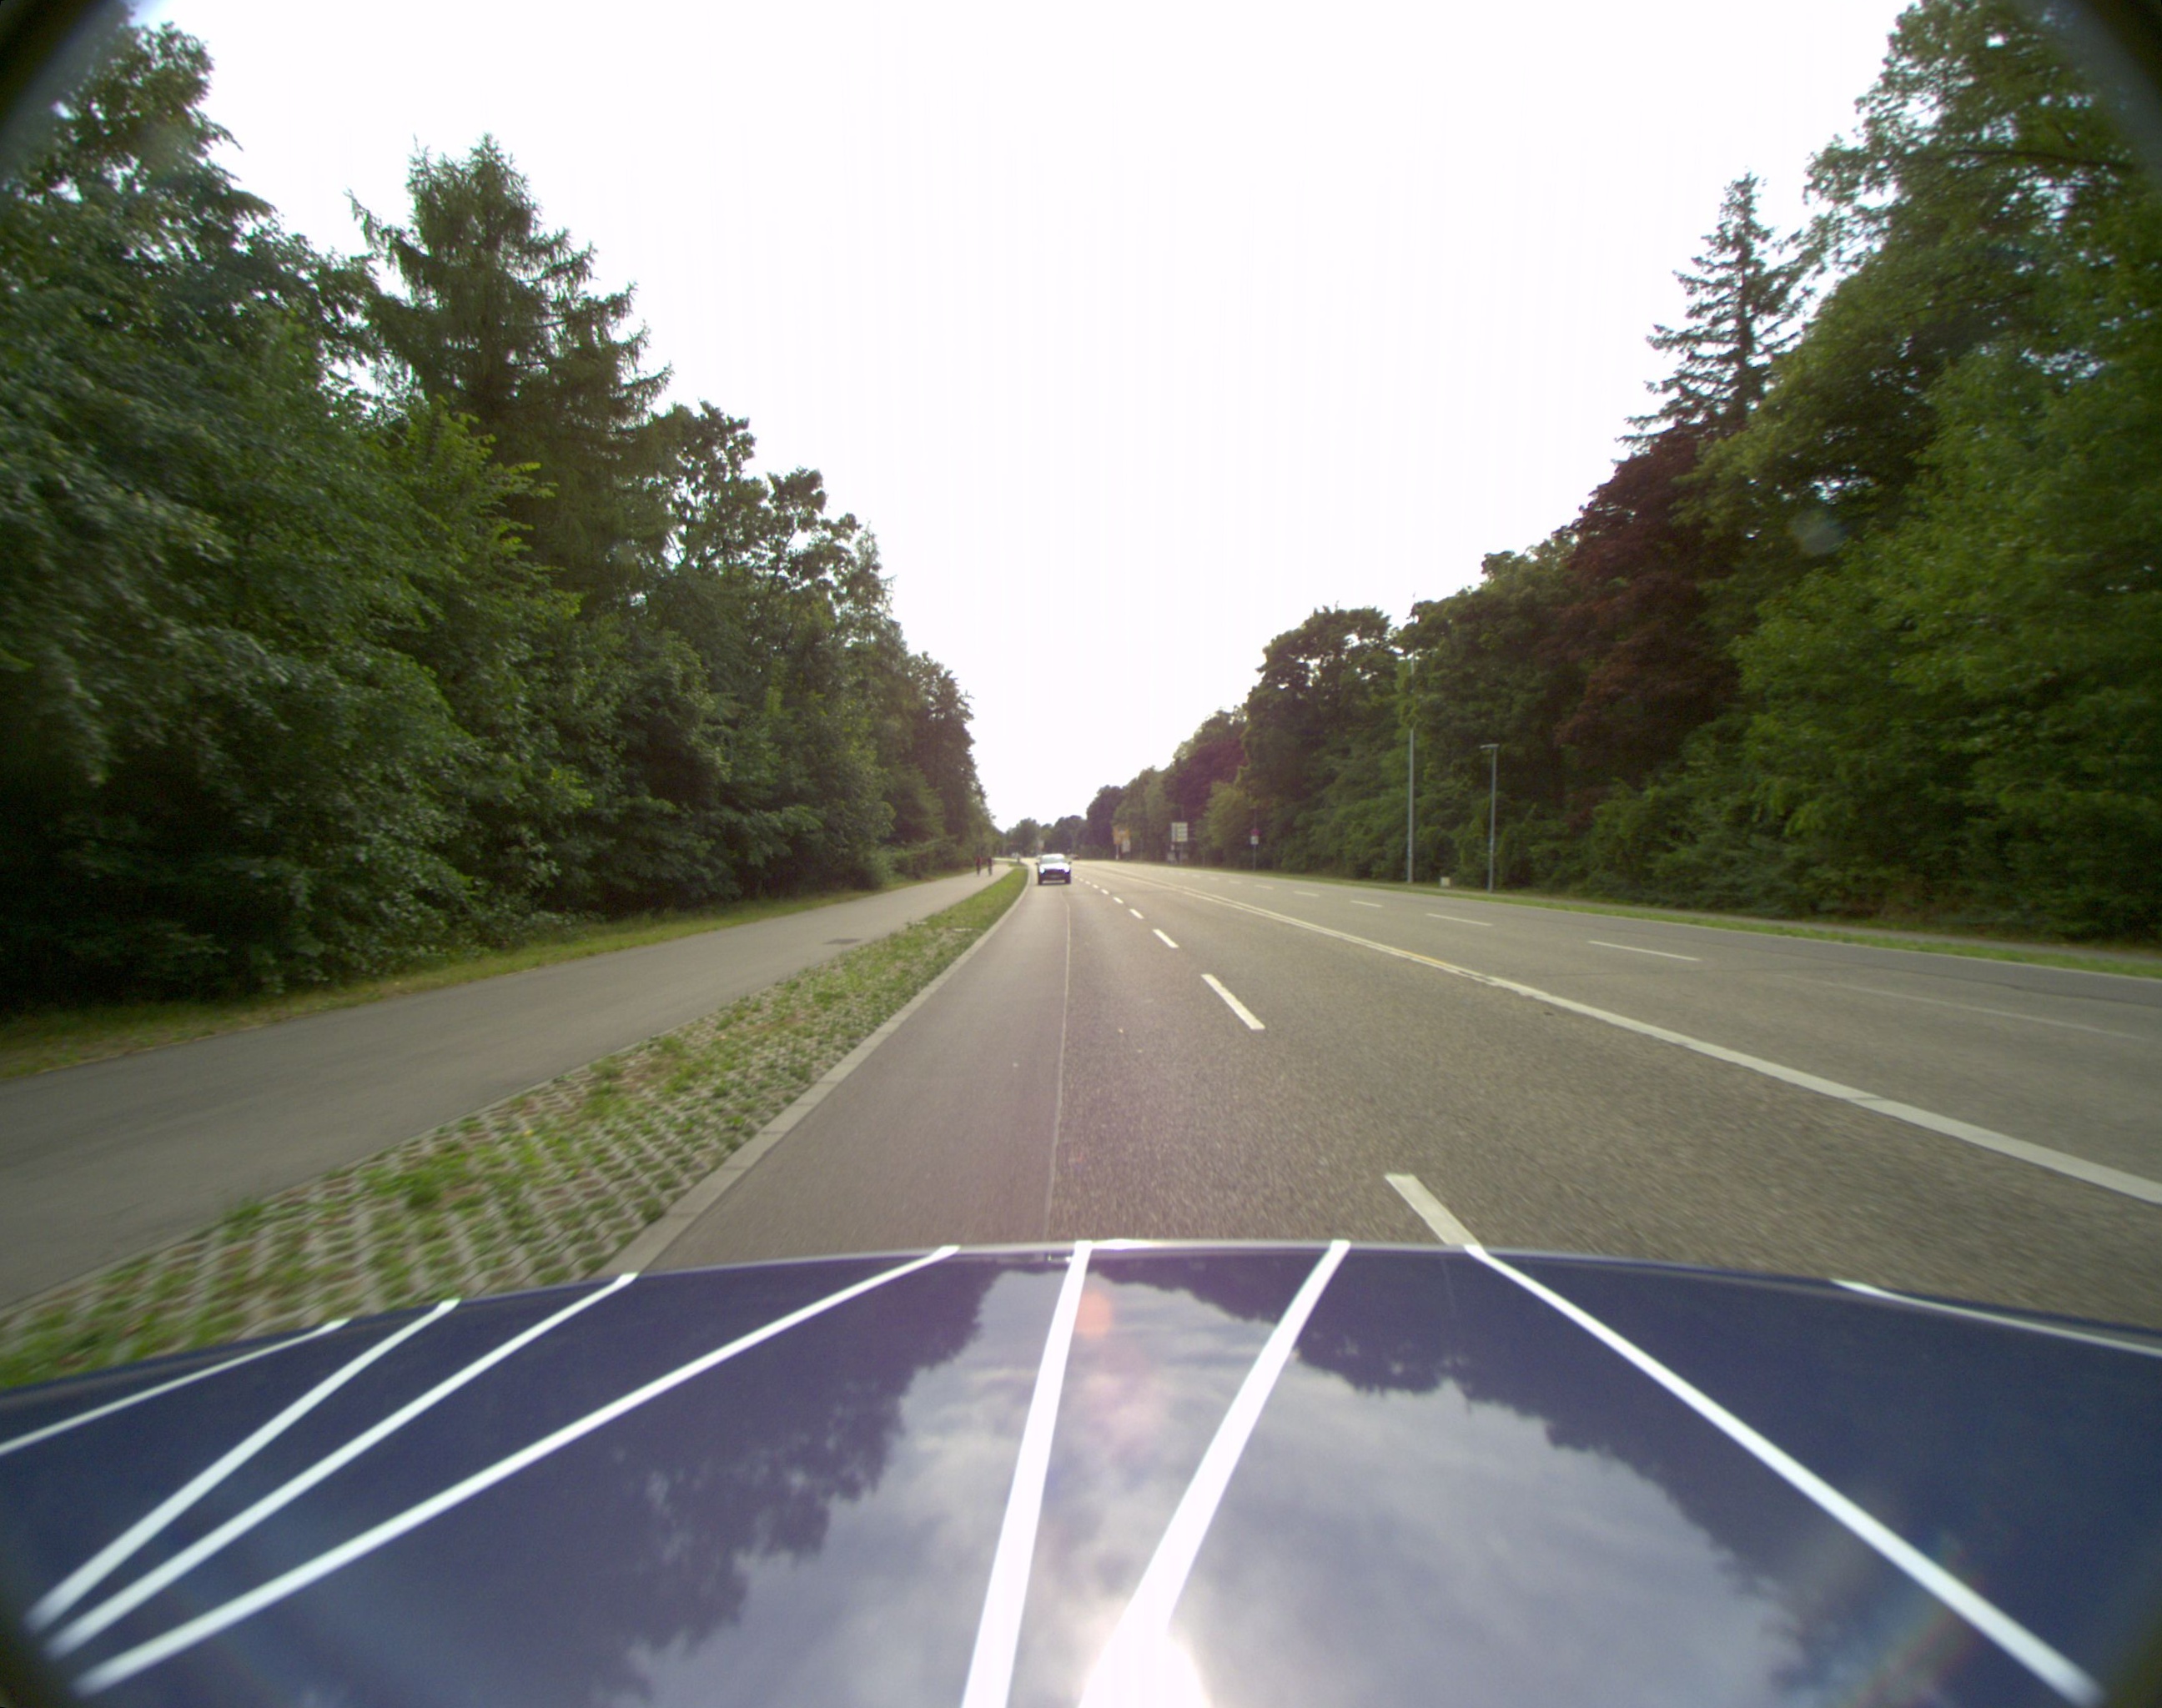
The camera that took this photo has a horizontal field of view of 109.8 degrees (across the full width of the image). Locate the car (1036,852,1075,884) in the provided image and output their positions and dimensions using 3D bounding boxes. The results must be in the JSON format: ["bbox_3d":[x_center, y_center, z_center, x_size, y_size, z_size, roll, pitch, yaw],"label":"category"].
[{"bbox_3d":[-1.493,0.756,43.306,1.999,1.565,3.998,-3,1,-3],"label":"car"}]

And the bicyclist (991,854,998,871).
[{"bbox_3d":[-7.217,0.679,63.563,0.521,1.407,1.185,-1,1,-6],"label":"bicyclist"}]

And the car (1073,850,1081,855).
[{"bbox_3d":[-1.078,-0.437,217.942,1.747,1.467,3.996,-3,1,-9],"label":"car"}]

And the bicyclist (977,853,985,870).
[{"bbox_3d":[-8.327,0.615,63.394,0.521,1.407,1.185,-3,1,-6],"label":"bicyclist"}]

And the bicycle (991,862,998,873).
[{"bbox_3d":[-7.218,1.139,63.565,0.567,0.906,1.753,1,1,-6],"label":"bicycle"}]

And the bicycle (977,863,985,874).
[{"bbox_3d":[-8.313,1.185,63.360,0.567,0.906,1.886,2,-1,-6],"label":"bicycle"}]
